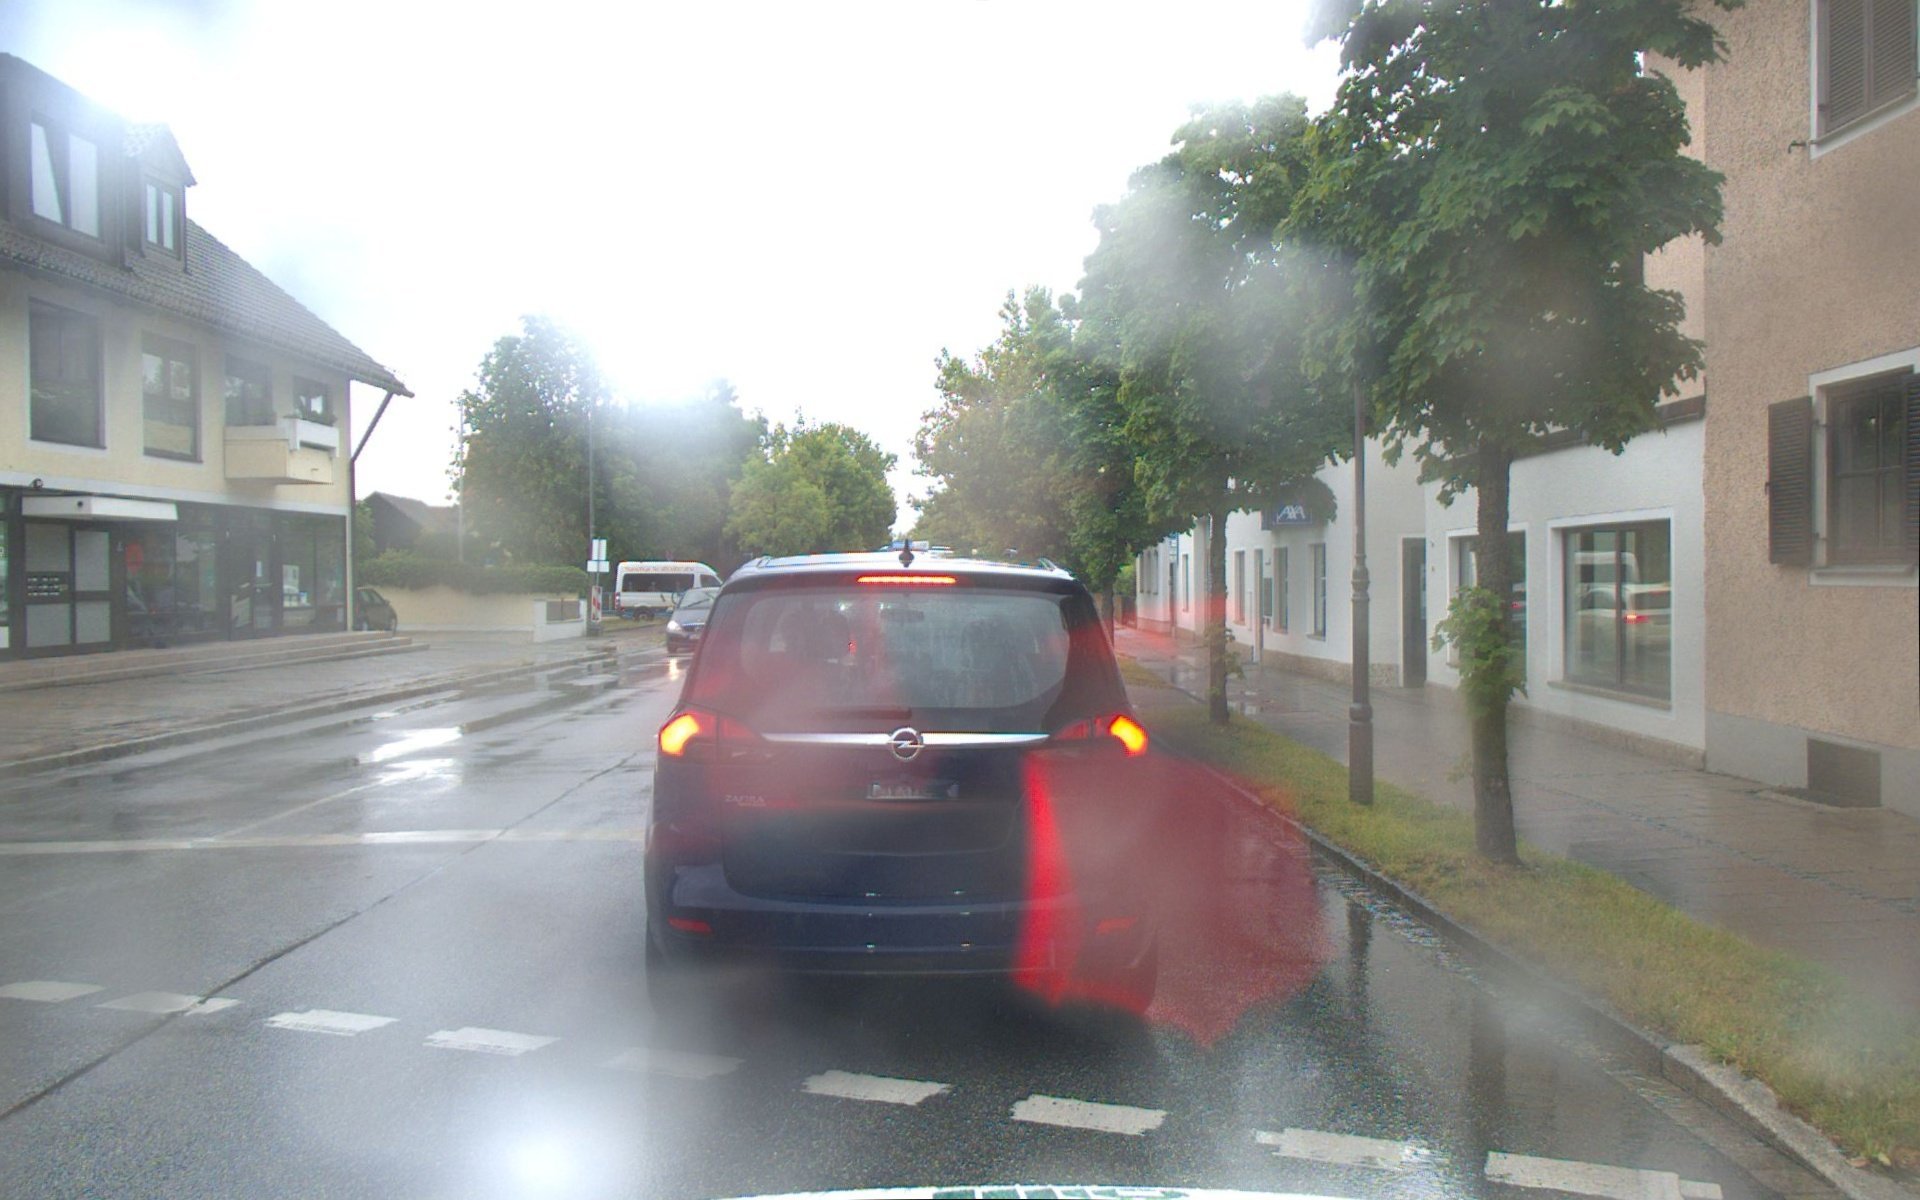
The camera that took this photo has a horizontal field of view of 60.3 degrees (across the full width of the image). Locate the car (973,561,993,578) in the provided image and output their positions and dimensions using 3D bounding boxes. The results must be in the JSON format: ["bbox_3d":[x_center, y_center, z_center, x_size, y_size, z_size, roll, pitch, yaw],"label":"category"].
[{"bbox_3d":[2.001,-2.632,143.038,1.597,1.402,3.622,-1,0,-1],"label":"car"}]

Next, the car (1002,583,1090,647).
[{"bbox_3d":[2.282,0.391,45.009,2.075,1.609,3.934,1,0,-2],"label":"car"}]

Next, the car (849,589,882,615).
[{"bbox_3d":[-5.923,0.109,103.972,1.887,1.594,4.125,-1,0,-2],"label":"car"}]

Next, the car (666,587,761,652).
[{"bbox_3d":[-6.251,0.460,42.343,1.877,1.560,3.898,-1,0,-1],"label":"car"}]

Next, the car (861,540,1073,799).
[{"bbox_3d":[0.028,0.484,13.283,1.470,1.807,3.111,1,0,-1],"label":"car"}]

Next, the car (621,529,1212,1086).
[{"bbox_3d":[-0.152,0.609,6.759,1.733,1.632,3.662,1,0,-1],"label":"car"}]

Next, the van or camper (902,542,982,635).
[{"bbox_3d":[-0.560,-0.353,51.227,2.312,2.712,5.370,-1,0,-1],"label":"van or camper"}]

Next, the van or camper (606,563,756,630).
[{"bbox_3d":[-11.762,-0.148,70.113,6.130,2.754,2.097,0,0,-8],"label":"van or camper"}]

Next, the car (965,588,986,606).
[{"bbox_3d":[1.212,-0.200,133.829,1.597,1.402,3.622,1,0,-1],"label":"car"}]

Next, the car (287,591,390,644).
[{"bbox_3d":[-17.694,0.477,47.238,1.574,1.404,3.508,-1,0,0],"label":"car"}]

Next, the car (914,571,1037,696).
[{"bbox_3d":[0.195,0.459,25.038,1.720,1.735,3.618,-1,0,-1],"label":"car"}]

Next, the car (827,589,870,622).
[{"bbox_3d":[-5.591,0.247,83.534,1.927,1.590,4.151,-1,0,-1],"label":"car"}]
